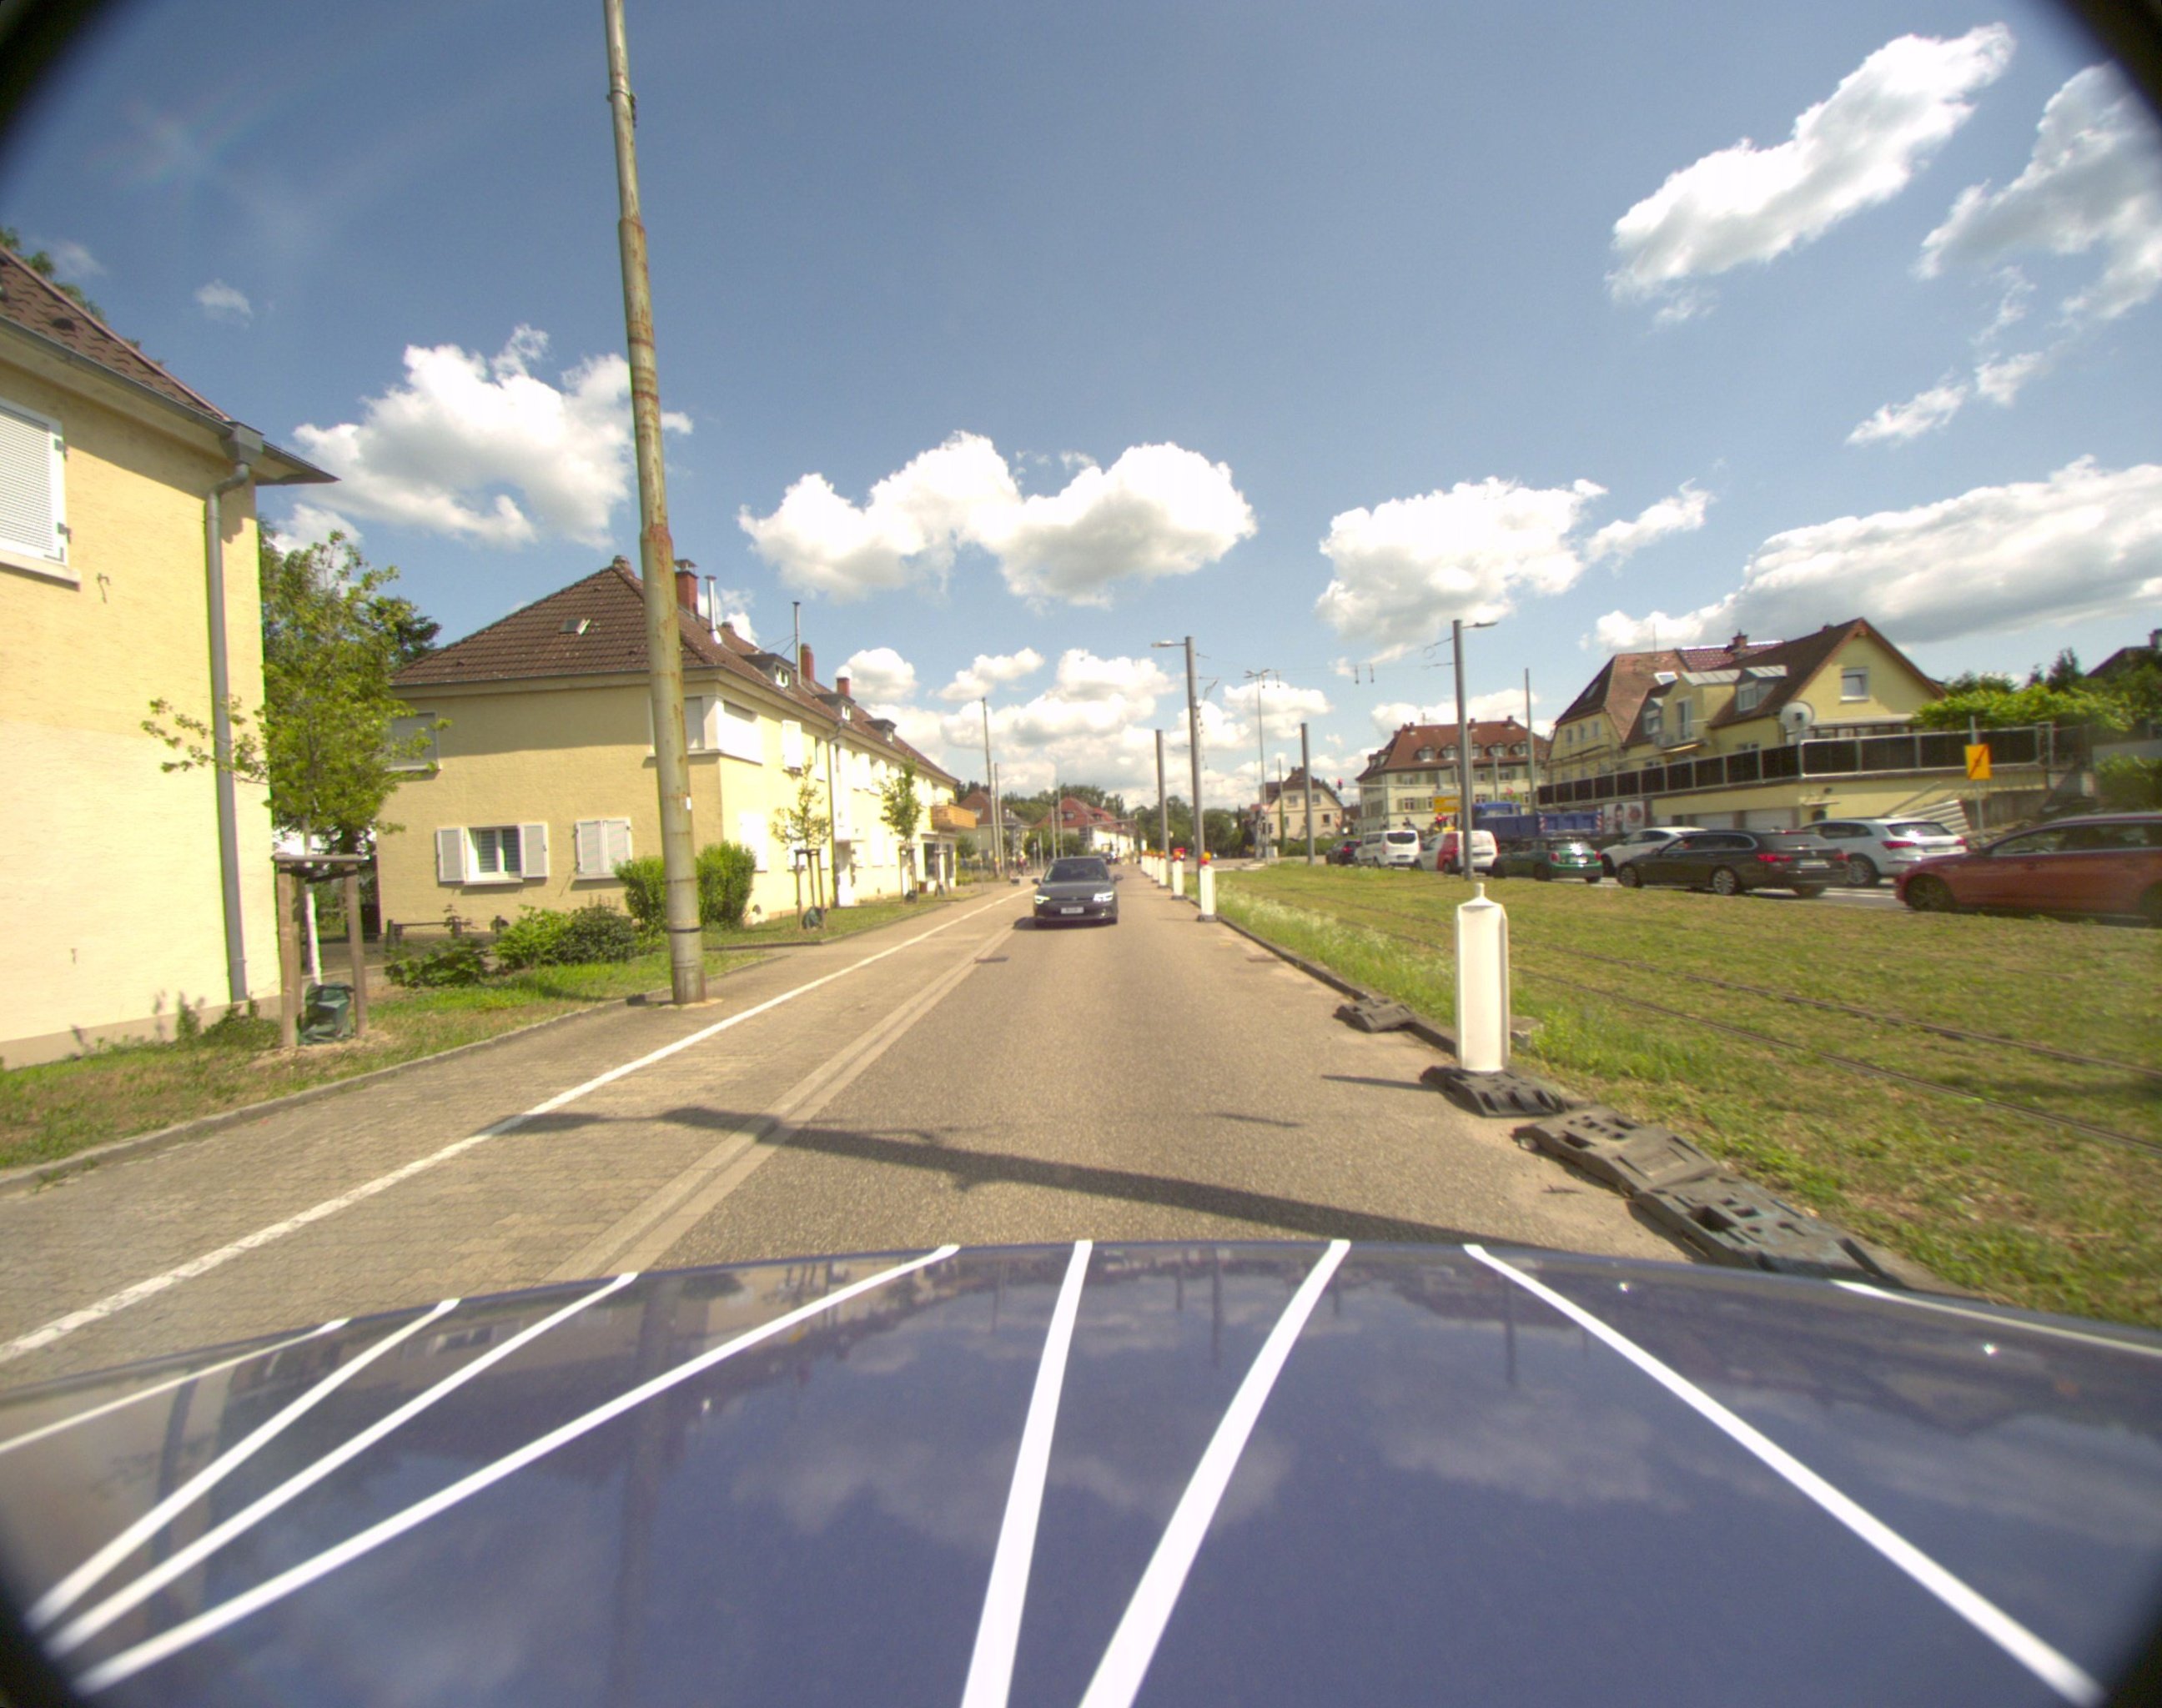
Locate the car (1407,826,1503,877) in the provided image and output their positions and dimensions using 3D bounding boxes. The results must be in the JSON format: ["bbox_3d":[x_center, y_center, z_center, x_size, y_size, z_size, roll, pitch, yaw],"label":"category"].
[{"bbox_3d":[15.154,-0.120,31.096,1.729,1.843,4.542,-3,0,2],"label":"car"}]

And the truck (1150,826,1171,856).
[{"bbox_3d":[14.934,-2.389,142.030,3.475,5.154,14.223,-2,0,7],"label":"truck"}]

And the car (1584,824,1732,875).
[{"bbox_3d":[19.717,-0.158,26.273,1.729,1.553,4.542,-3,0,2],"label":"car"}]

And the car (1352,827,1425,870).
[{"bbox_3d":[15.526,-0.273,38.647,1.922,1.953,4.542,-3,0,2],"label":"car"}]

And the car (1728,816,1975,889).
[{"bbox_3d":[19.100,-0.058,19.204,1.729,1.553,4.542,-3,0,3],"label":"car"}]

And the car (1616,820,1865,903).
[{"bbox_3d":[14.543,0.132,17.205,1.729,1.553,4.644,-3,0,3],"label":"car"}]

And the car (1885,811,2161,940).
[{"bbox_3d":[14.042,0.219,10.230,1.729,1.553,4.542,-3,0,3],"label":"car"}]

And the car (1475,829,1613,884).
[{"bbox_3d":[14.704,0.054,24.463,1.729,1.553,4.542,-3,0,2],"label":"car"}]

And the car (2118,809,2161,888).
[{"bbox_3d":[22.119,-0.129,13.337,1.729,1.553,4.542,-3,0,3],"label":"car"}]

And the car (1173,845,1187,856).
[{"bbox_3d":[17.681,-0.621,136.343,2.284,1.862,4.987,-2,0,6],"label":"car"}]

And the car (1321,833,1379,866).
[{"bbox_3d":[15.840,-0.265,44.994,1.922,1.770,4.542,-3,0,2],"label":"car"}]

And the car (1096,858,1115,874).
[{"bbox_3d":[2.640,1.304,83.593,1.879,1.544,4.985,-3,0,1],"label":"car"}]

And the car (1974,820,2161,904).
[{"bbox_3d":[18.320,0.097,12.664,1.729,1.327,4.543,-2,0,5],"label":"car"}]

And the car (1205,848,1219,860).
[{"bbox_3d":[22.308,0.034,129.696,2.283,1.862,4.988,-2,0,9],"label":"car"}]

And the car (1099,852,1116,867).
[{"bbox_3d":[3.163,0.645,90.770,1.879,1.544,4.985,-3,0,1],"label":"car"}]

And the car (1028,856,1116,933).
[{"bbox_3d":[-0.073,0.822,17.639,1.742,1.513,4.702,0,1,3],"label":"car"}]

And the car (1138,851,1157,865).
[{"bbox_3d":[8.077,0.474,92.351,1.879,1.544,4.985,-3,0,1],"label":"car"}]

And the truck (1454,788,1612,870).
[{"bbox_3d":[20.006,-1.020,34.308,2.842,3.136,7.935,-2,0,5],"label":"truck"}]

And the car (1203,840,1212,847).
[{"bbox_3d":[30.248,-2.501,181.916,1.721,1.582,4.173,-2,1,4],"label":"car"}]
